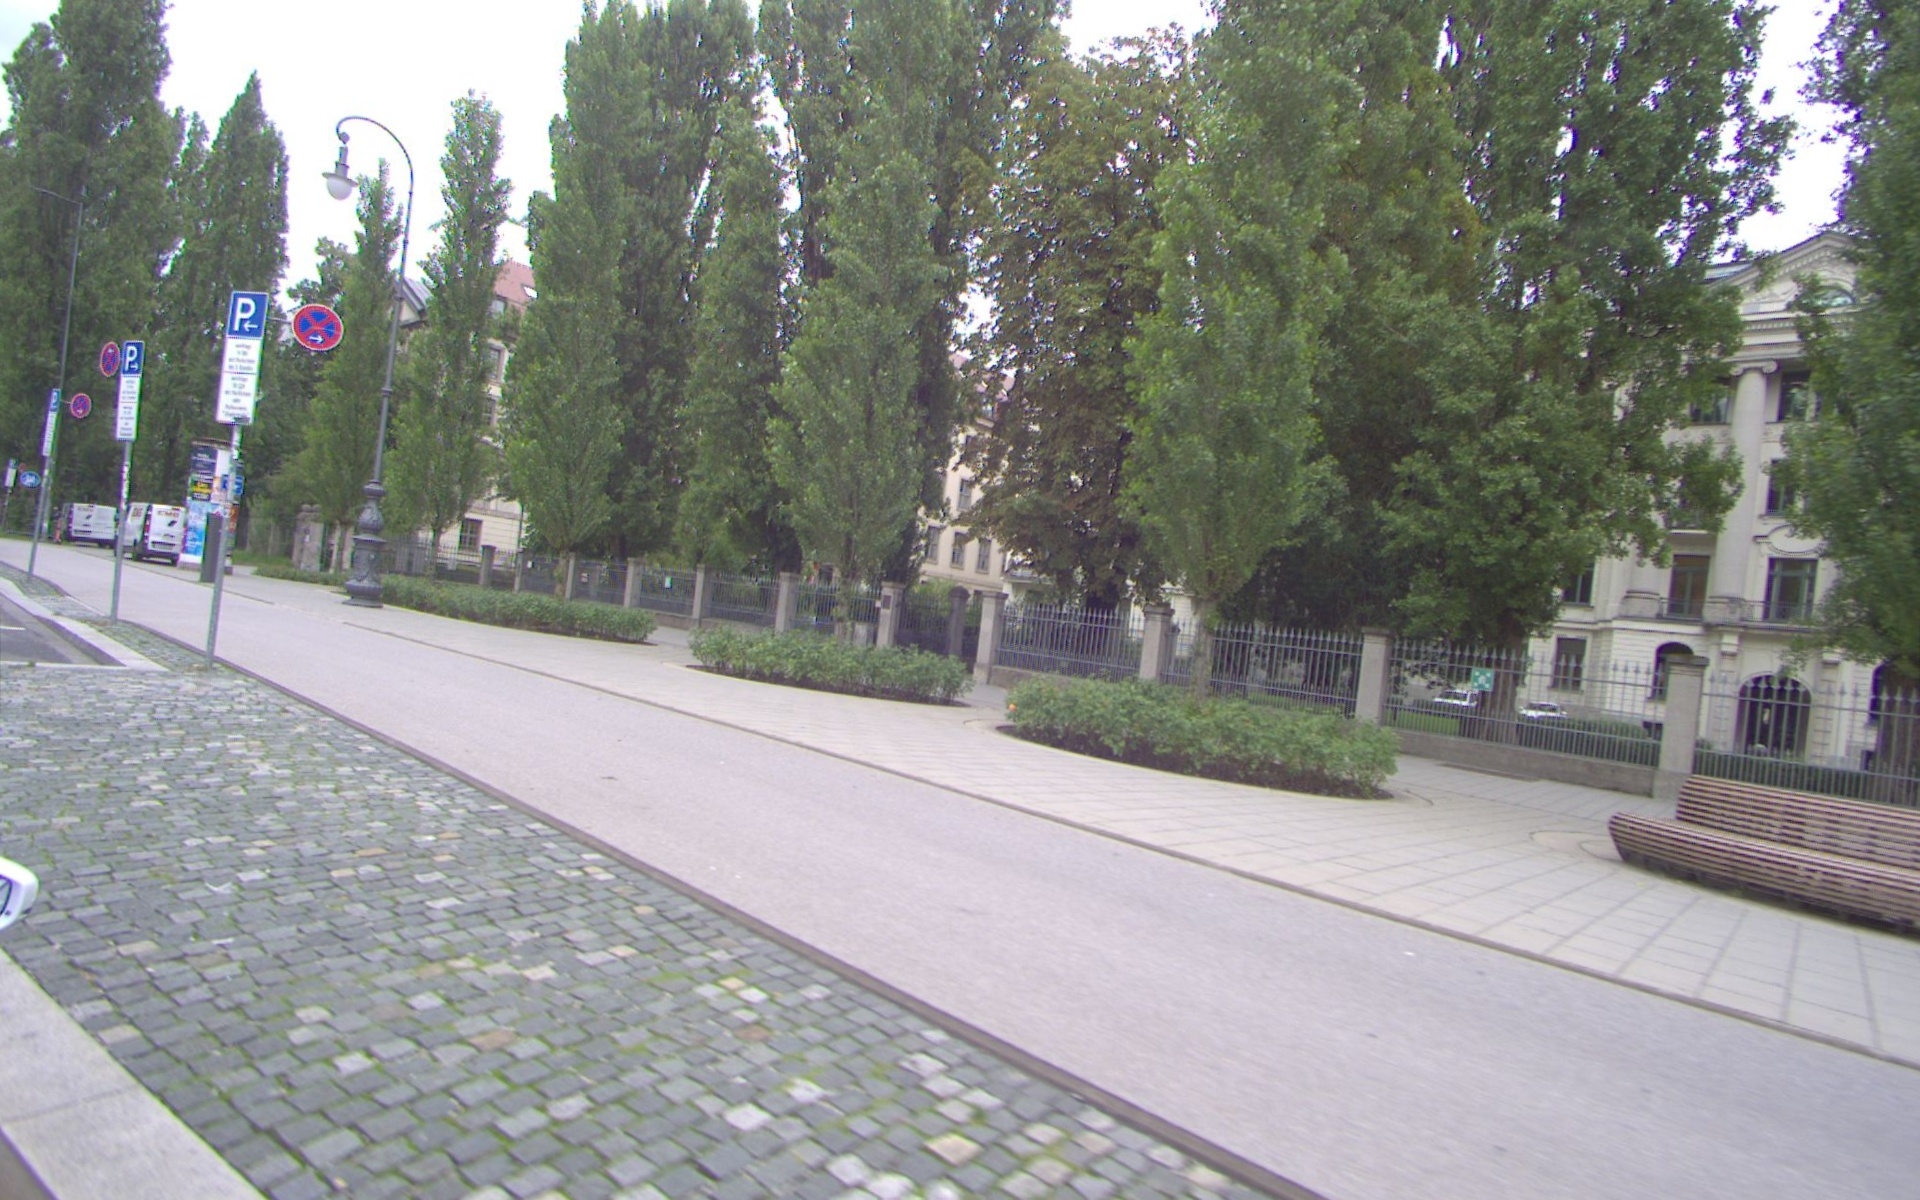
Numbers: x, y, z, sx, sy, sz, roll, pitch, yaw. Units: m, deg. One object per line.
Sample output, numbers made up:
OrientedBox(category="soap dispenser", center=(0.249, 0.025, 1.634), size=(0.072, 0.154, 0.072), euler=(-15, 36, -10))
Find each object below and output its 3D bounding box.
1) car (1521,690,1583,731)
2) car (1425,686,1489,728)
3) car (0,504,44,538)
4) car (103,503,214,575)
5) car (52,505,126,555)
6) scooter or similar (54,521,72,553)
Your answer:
OrientedBox(category="car", center=(28.119, 5.270, 47.704), size=(1.628, 1.637, 3.981), euler=(6, -1, 42))
OrientedBox(category="car", center=(24.864, 5.375, 50.242), size=(1.775, 1.790, 3.983), euler=(6, -2, 41))
OrientedBox(category="car", center=(-64.587, -5.419, 68.943), size=(5.250, 1.948, 1.992), euler=(5, -2, 41))
OrientedBox(category="car", center=(-27.282, -2.118, 34.190), size=(4.816, 1.966, 1.880), euler=(6, -3, 41))
OrientedBox(category="car", center=(-41.475, -3.337, 47.860), size=(5.015, 1.969, 1.991), euler=(5, -2, 43))
OrientedBox(category="scooter or similar", center=(-37.190, -2.618, 41.699), size=(1.170, 1.281, 0.336), euler=(6, -1, 43))
